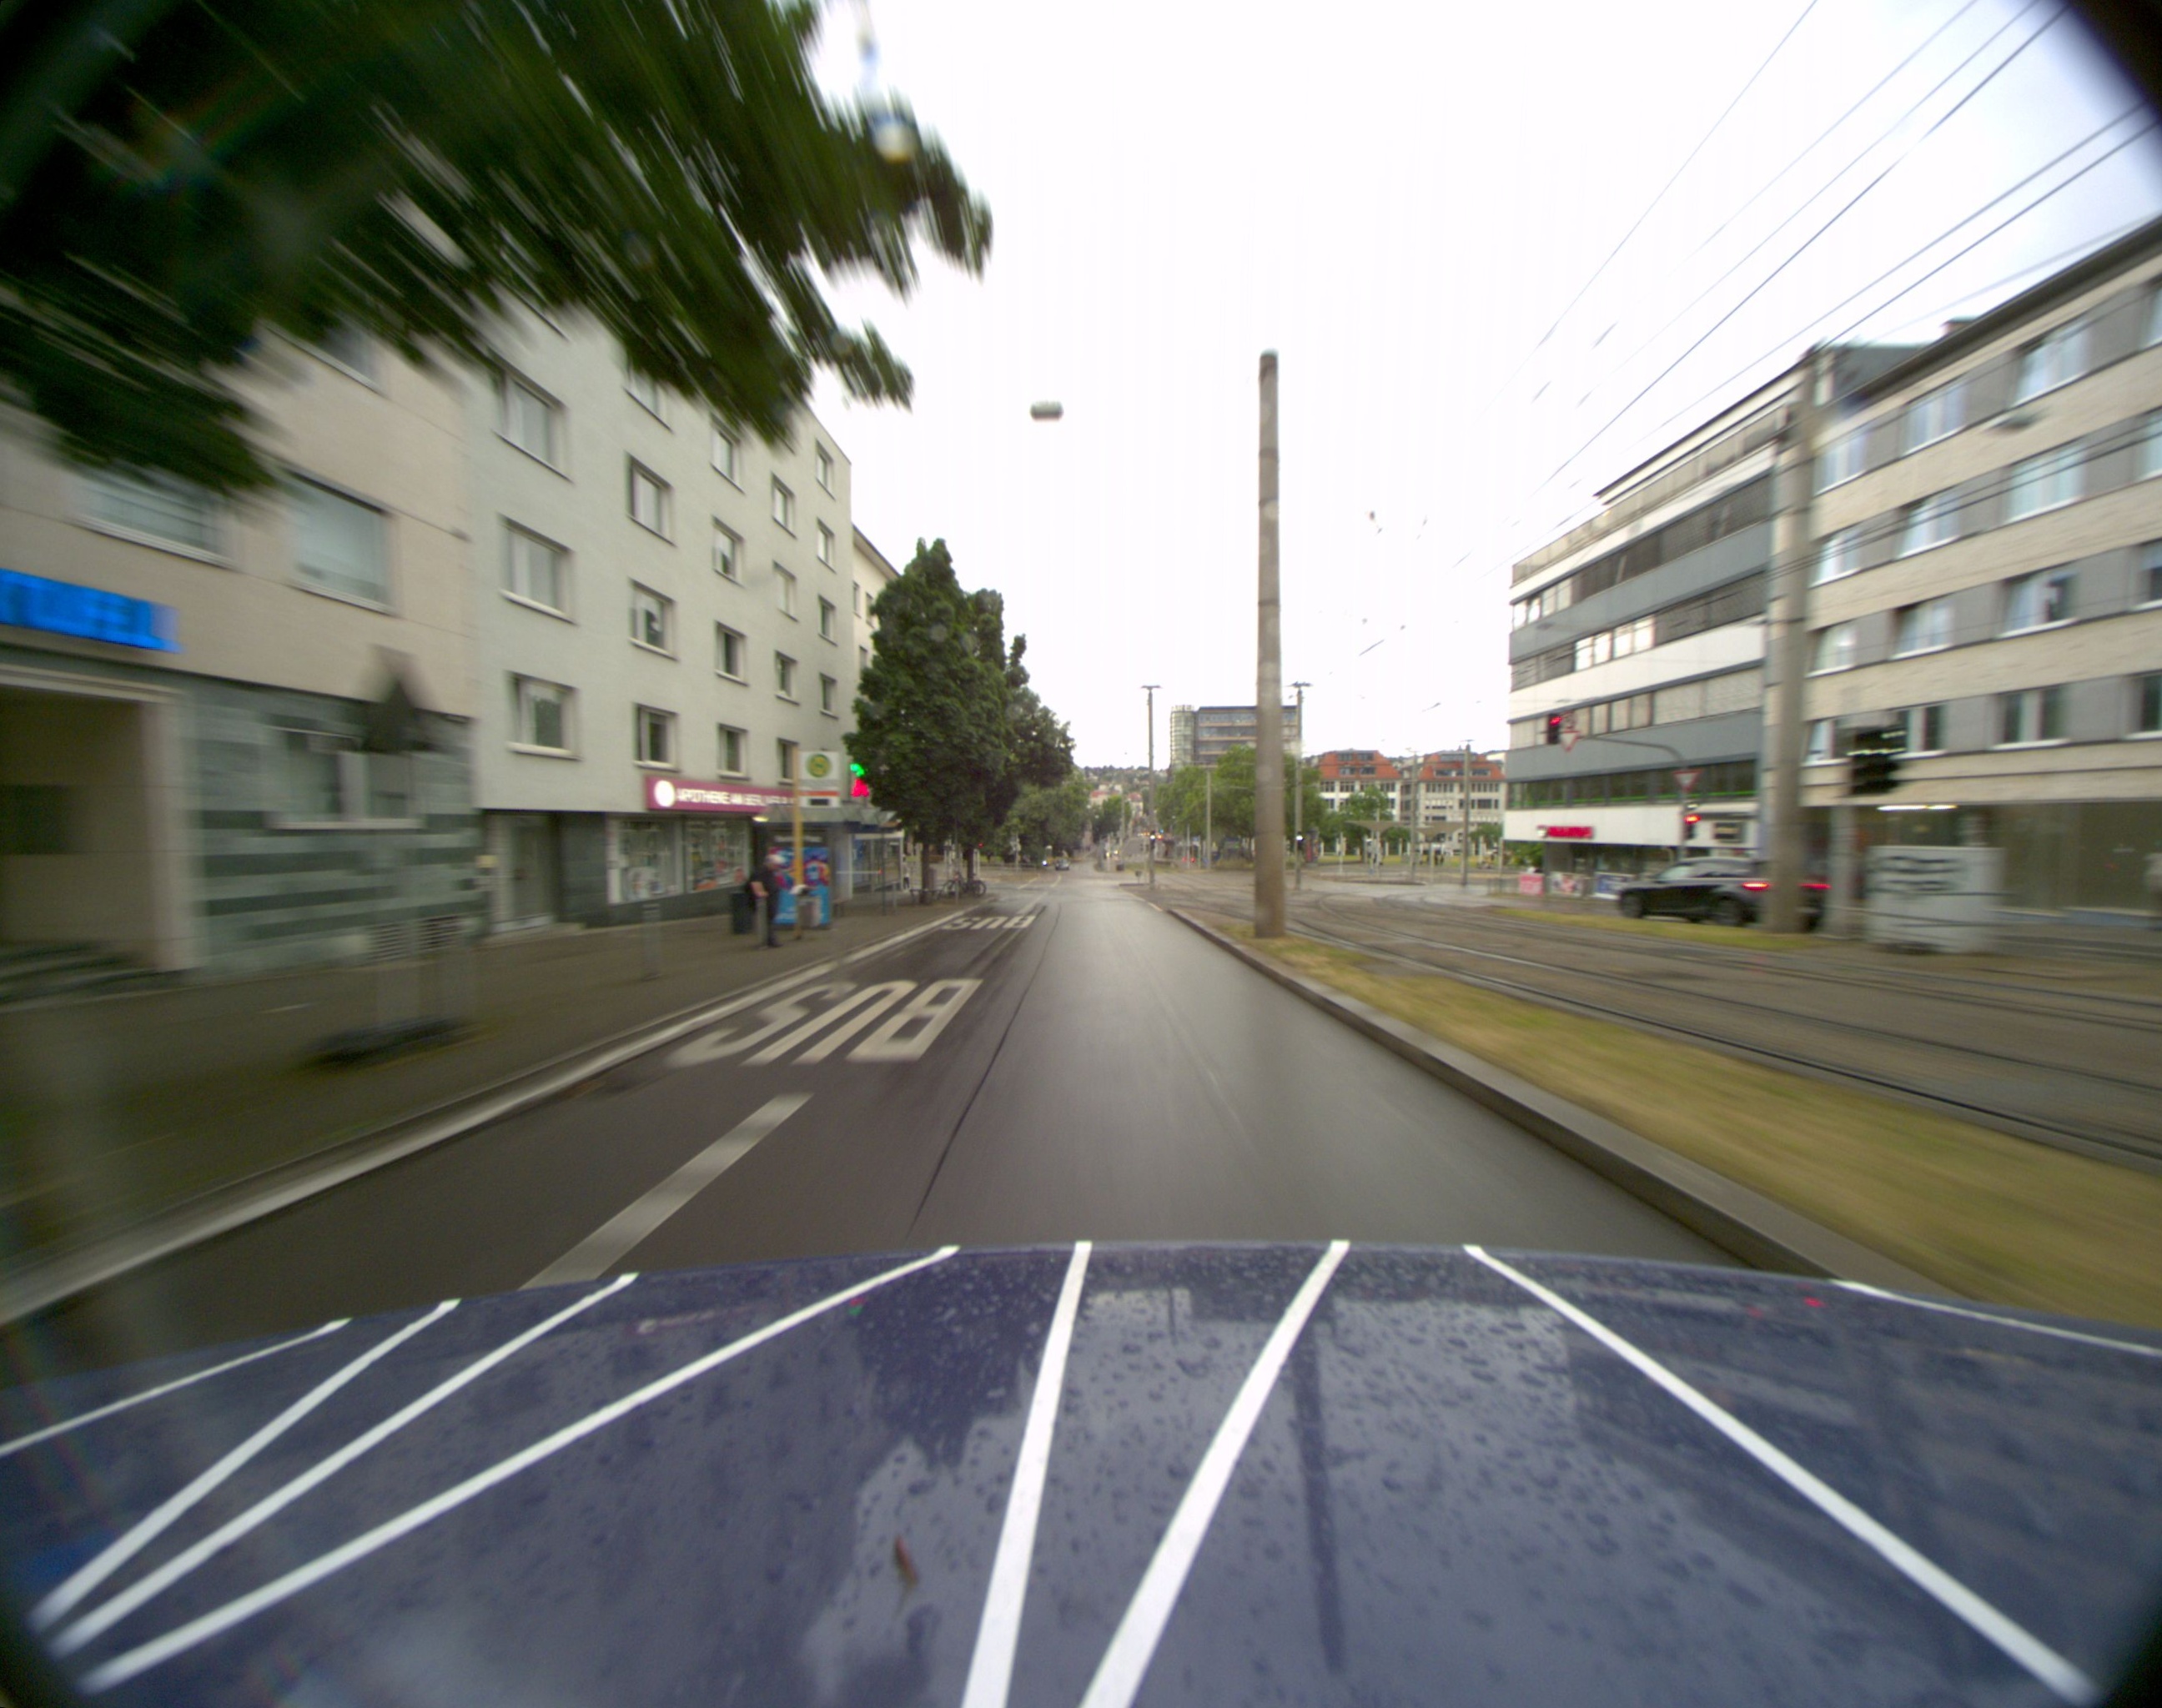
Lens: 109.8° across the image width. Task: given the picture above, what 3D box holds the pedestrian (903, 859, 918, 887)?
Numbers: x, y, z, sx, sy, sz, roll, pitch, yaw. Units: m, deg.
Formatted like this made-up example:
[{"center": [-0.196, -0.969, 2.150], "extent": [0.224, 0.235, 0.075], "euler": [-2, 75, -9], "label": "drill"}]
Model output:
[{"center": [-10.579, 1.166, 47.134], "extent": [0.703, 1.703, 0.530], "euler": [1, 2, 42], "label": "pedestrian"}]

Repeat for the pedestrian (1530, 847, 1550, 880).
[{"center": [26.846, 0.552, 44.441], "extent": [0.719, 1.903, 0.698], "euler": [0, 2, -1], "label": "pedestrian"}]

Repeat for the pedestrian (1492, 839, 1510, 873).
[{"center": [23.606, 0.113, 42.693], "extent": [0.696, 1.903, 0.721], "euler": [1, 2, 42], "label": "pedestrian"}]

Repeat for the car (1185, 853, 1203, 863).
[{"center": [17.242, 0.570, 116.042], "extent": [2.104, 1.497, 4.731], "euler": [0, 1, 2], "label": "car"}]

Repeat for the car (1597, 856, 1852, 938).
[{"center": [14.737, 0.896, 17.836], "extent": [1.999, 1.663, 4.525], "euler": [0, 0, -3], "label": "car"}]

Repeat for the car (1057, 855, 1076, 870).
[{"center": [-1.758, 0.989, 92.345], "extent": [1.998, 1.696, 4.000], "euler": [0, 1, 2], "label": "car"}]

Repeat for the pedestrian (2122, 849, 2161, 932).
[{"center": [21.891, 0.730, 15.227], "extent": [0.680, 1.671, 0.998], "euler": [0, 0, -1], "label": "pedestrian"}]

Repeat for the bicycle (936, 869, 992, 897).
[{"center": [-5.143, 1.265, 33.458], "extent": [2.321, 1.167, 0.649], "euler": [0, 2, 4], "label": "bicycle"}]

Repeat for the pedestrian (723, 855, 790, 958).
[{"center": [-5.302, 0.824, 12.467], "extent": [0.667, 1.617, 0.967], "euler": [0, 0, 0], "label": "pedestrian"}]

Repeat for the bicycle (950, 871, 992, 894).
[{"center": [-5.139, 1.318, 35.583], "extent": [1.820, 1.085, 0.649], "euler": [0, -1, 4], "label": "bicycle"}]
